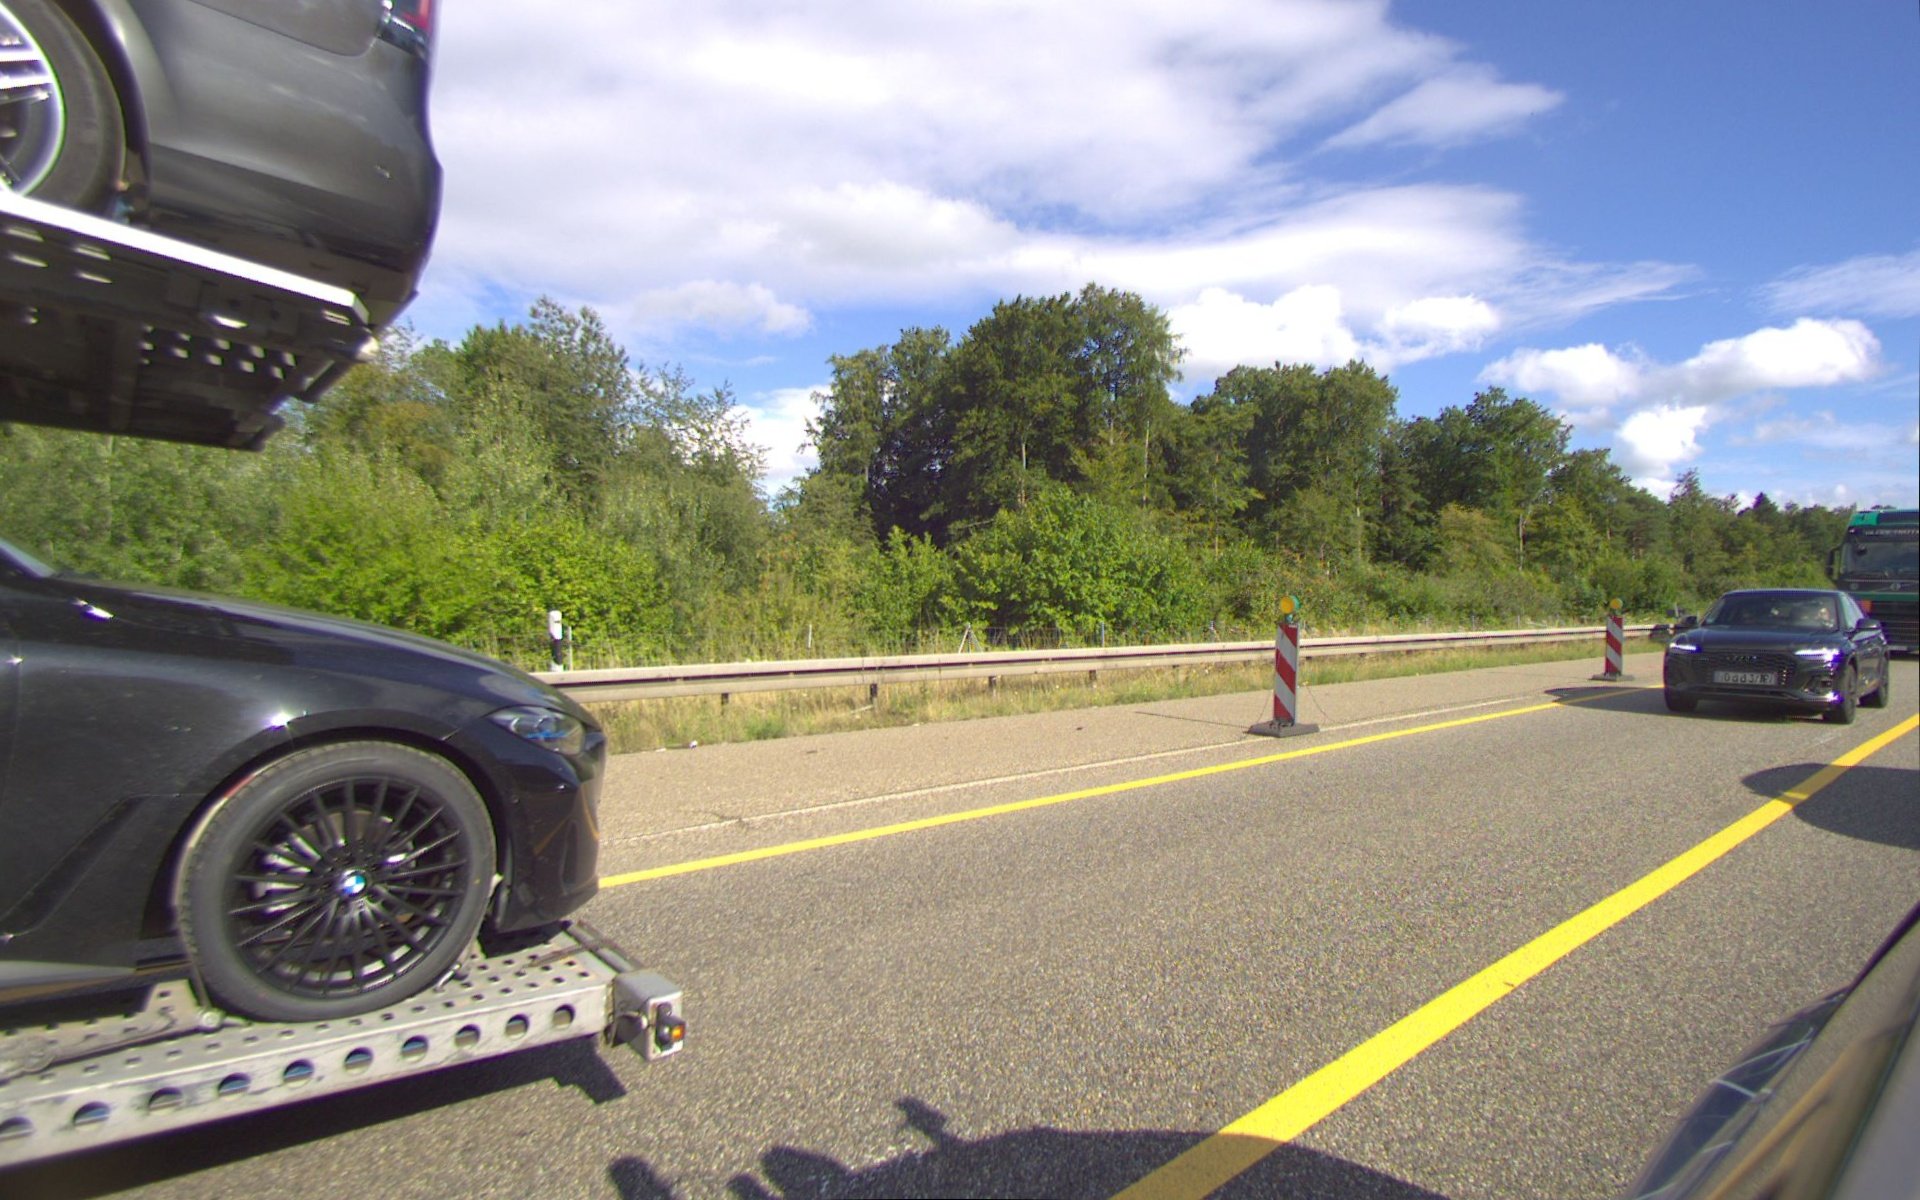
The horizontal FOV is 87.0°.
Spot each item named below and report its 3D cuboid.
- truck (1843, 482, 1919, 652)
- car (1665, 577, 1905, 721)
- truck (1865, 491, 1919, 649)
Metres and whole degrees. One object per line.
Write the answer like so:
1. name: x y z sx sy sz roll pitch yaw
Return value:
1. truck: 25.996 -0.839 27.065 6.734 4.151 2.527 -1 0 -40
2. car: 11.049 0.530 13.450 4.219 1.623 1.781 -1 0 -41
3. truck: 30.952 -0.773 31.236 13.956 4.196 2.469 0 -1 -40
